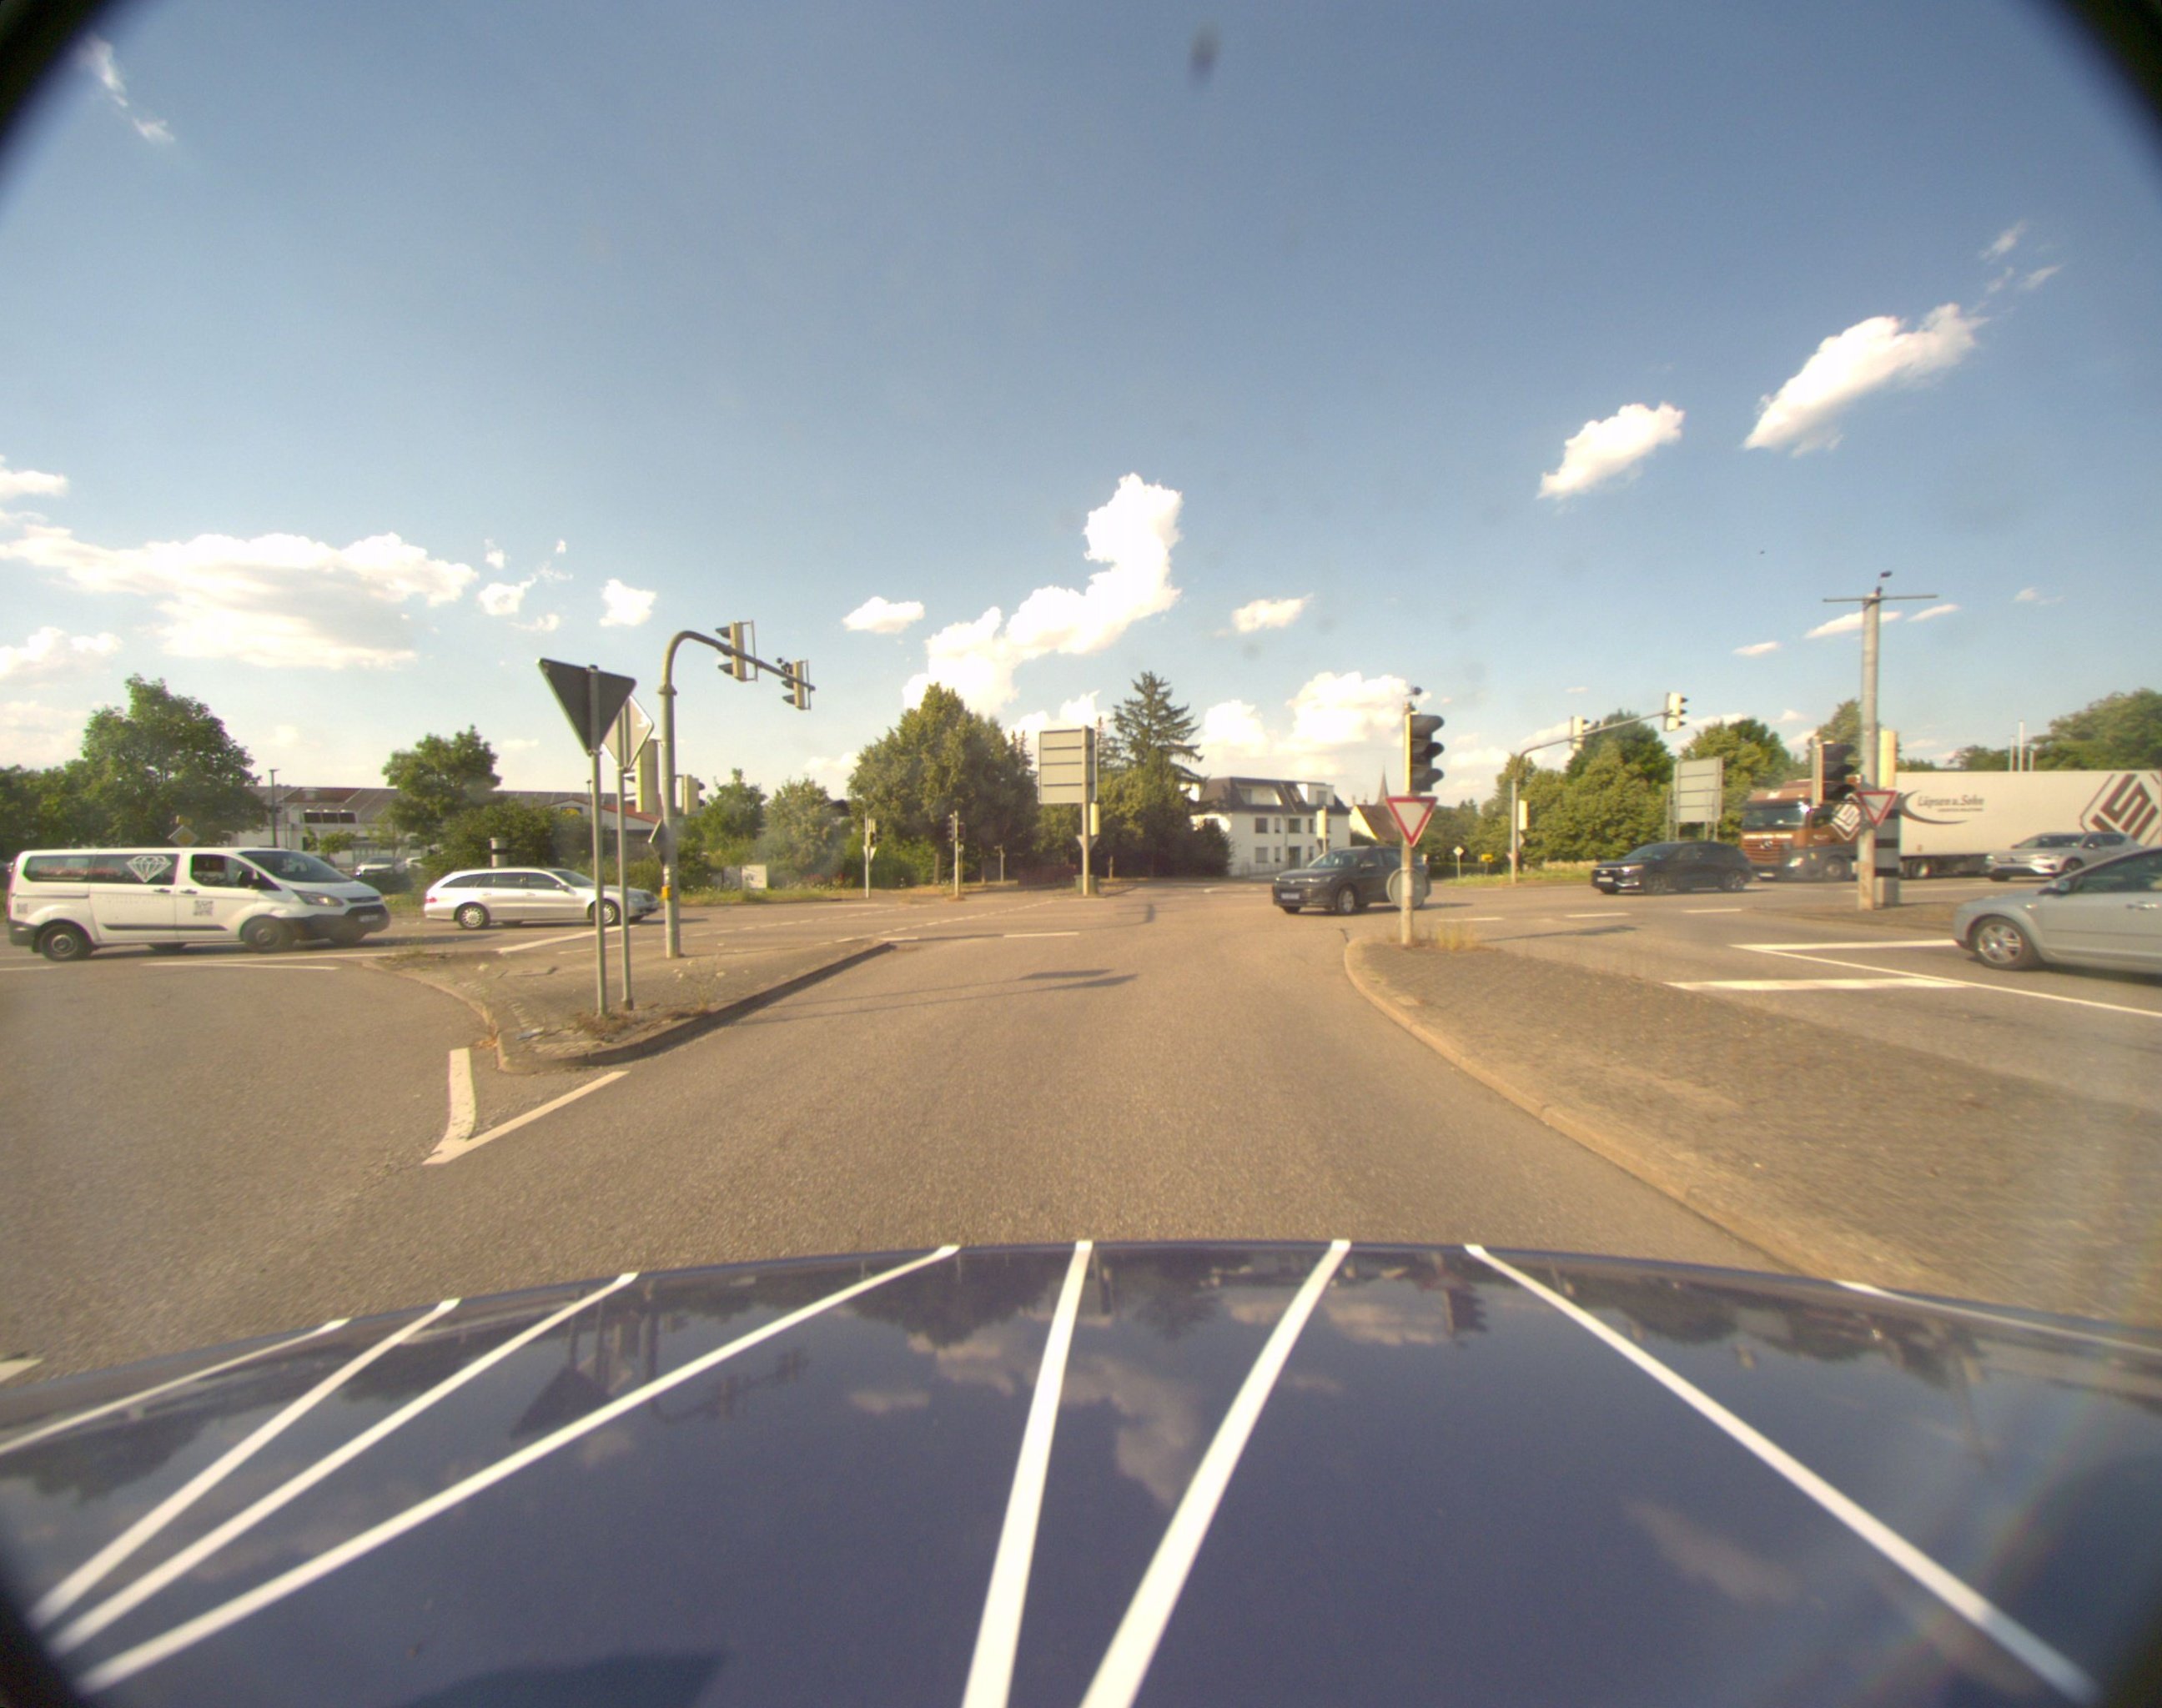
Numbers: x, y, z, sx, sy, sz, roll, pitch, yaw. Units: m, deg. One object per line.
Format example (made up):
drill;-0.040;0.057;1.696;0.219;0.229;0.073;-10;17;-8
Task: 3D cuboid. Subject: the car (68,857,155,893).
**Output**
car;-58.915;1.279;46.275;1.971;2.001;4.646;-2;-1;-35

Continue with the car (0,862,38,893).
car;-73.767;1.623;51.331;2.003;2.001;4.922;-2;-1;-30

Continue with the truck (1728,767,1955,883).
truck;28.832;-1.066;28.936;6.661;4.019;2.538;-2;0;-8

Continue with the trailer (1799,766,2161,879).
trailer;35.853;-1.256;30.045;14.335;4.042;2.538;-1;0;-9

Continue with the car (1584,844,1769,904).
car;18.281;0.603;23.422;4.547;1.603;1.775;-2;-1;-8

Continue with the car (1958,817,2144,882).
car;32.110;-0.138;25.207;4.372;1.936;1.907;-2;-1;-9

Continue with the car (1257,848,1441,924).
car;6.699;0.723;18.871;4.475;1.619;1.785;-2;0;-30

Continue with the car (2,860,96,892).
car;-71.153;1.546;52.493;2.003;2.001;4.922;-2;-1;-30

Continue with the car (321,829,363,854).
car;-61.123;-1.019;62.927;1.834;1.834;3.779;-2;-1;-35

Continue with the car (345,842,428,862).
car;-56.729;-0.157;62.186;4.801;1.525;1.847;-2;-1;-34

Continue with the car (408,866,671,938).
car;-13.210;1.133;18.852;4.953;1.504;1.862;-2;-1;-9

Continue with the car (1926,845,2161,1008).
car;10.938;0.643;6.960;1.818;1.518;4.357;-2;-2;7

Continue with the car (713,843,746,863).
car;-29.237;-0.077;63.081;1.611;1.571;3.578;-2;-1;-39

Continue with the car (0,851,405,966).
car;-16.038;0.913;14.161;4.819;1.936;1.905;0;0;-10

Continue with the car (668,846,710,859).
car;-42.064;-0.158;81.596;3.942;1.367;2.016;-1;-1;-29

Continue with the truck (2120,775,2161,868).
truck;46.632;-1.411;31.214;5.686;3.782;2.261;-2;0;-9
